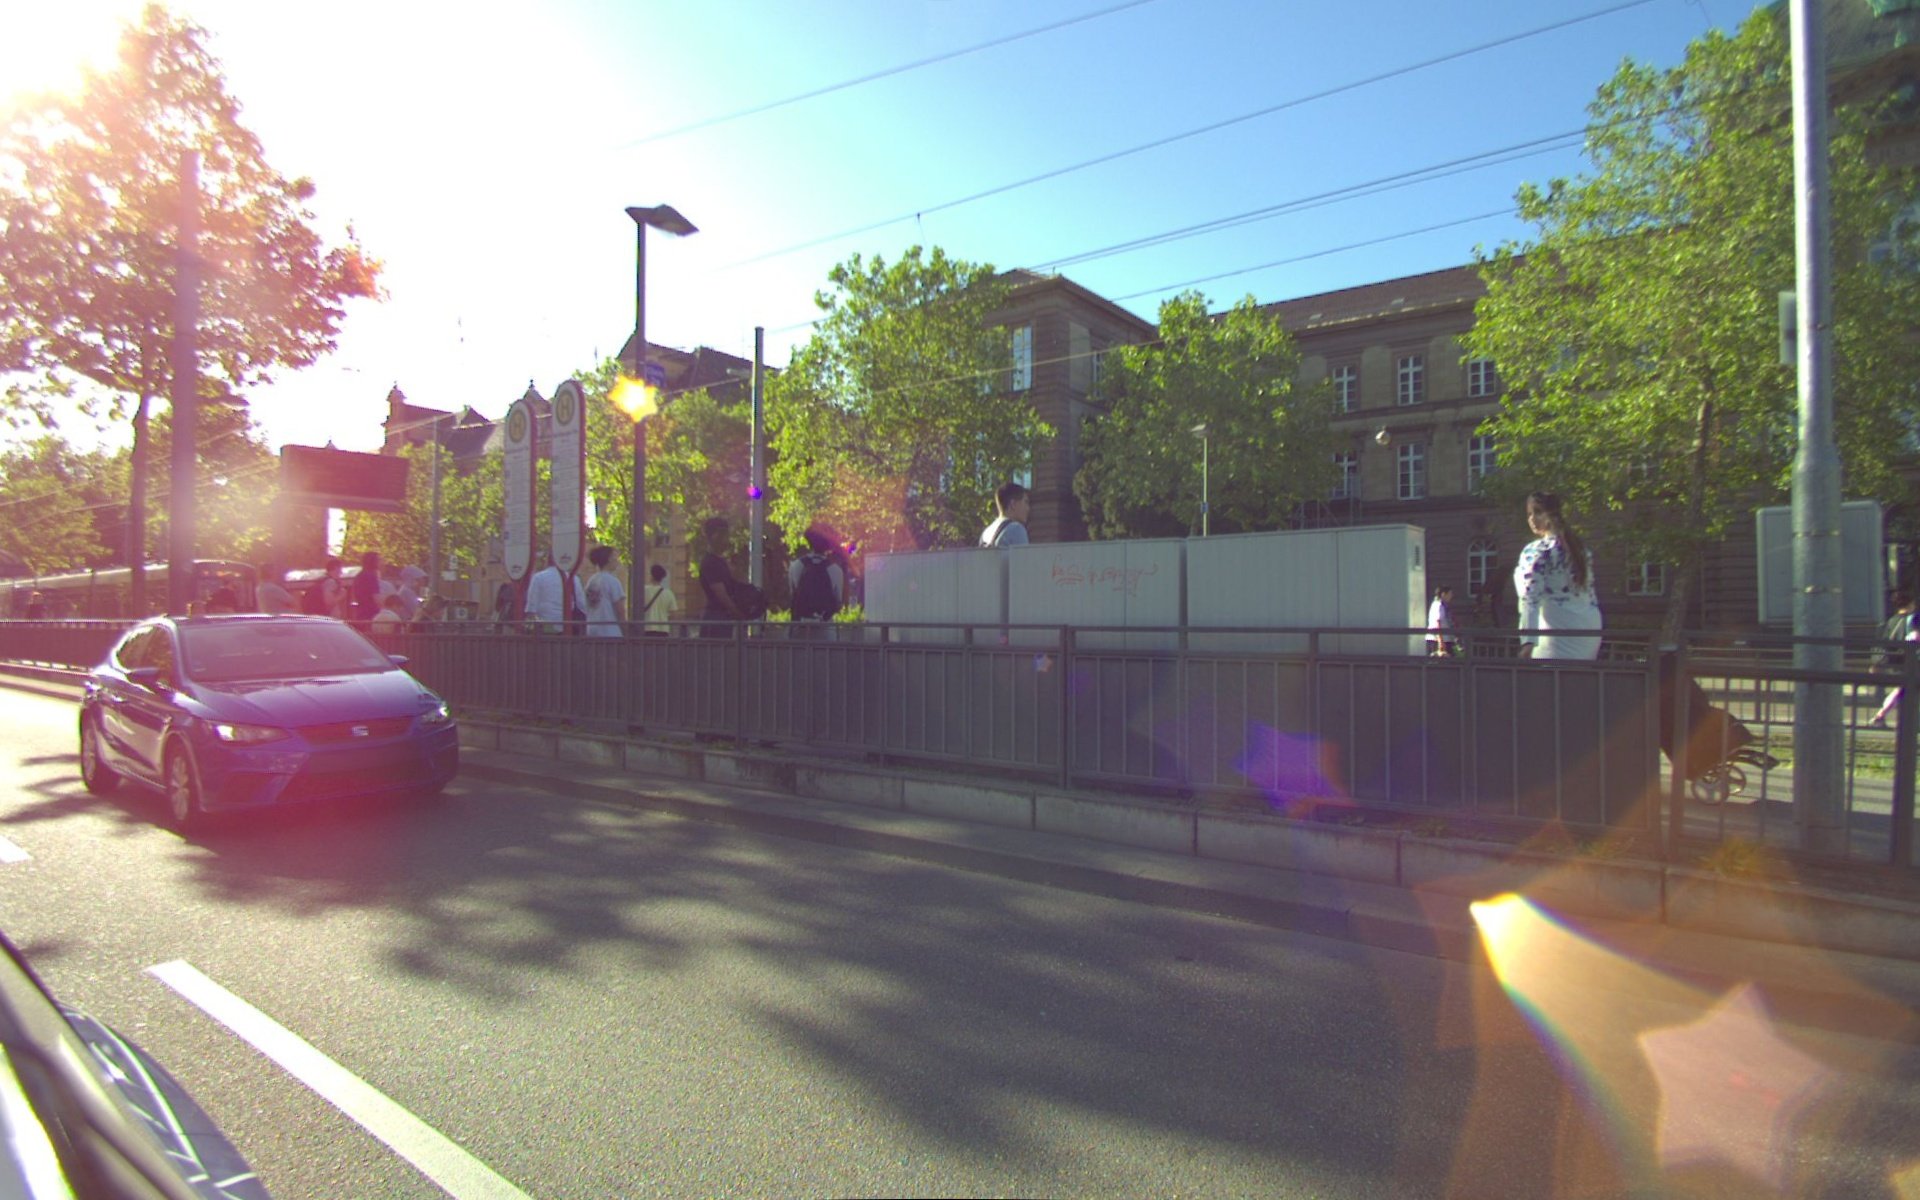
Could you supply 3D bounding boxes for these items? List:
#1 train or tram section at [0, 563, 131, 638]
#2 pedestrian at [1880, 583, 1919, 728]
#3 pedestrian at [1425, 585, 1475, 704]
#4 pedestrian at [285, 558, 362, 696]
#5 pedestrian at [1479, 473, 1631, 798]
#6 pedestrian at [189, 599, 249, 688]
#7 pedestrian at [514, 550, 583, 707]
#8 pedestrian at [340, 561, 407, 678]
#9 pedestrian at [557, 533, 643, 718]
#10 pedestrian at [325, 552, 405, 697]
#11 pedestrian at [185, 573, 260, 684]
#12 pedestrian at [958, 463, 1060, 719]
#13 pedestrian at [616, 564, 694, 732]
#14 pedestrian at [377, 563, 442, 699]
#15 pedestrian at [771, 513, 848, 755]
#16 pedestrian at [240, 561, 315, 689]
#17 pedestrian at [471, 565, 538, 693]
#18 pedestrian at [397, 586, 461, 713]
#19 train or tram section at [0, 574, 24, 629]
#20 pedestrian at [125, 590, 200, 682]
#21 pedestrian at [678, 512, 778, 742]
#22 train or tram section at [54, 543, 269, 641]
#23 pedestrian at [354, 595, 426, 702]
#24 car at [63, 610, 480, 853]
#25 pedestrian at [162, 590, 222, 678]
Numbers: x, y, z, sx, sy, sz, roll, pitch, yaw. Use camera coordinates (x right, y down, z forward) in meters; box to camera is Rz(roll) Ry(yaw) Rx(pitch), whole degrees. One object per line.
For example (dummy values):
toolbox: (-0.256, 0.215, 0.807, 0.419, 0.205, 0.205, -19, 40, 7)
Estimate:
train or tram section: (-48.389, 0.185, 53.705, 18.248, 3.460, 2.844, -1, -1, 38)
pedestrian: (11.520, 0.648, 12.004, 0.627, 1.677, 0.706, -1, -2, 18)
pedestrian: (7.404, 0.665, 15.280, 0.544, 1.741, 0.519, -1, -2, 41)
pedestrian: (-8.182, 0.345, 13.018, 0.570, 1.709, 0.654, -1, -2, 38)
pedestrian: (3.255, 0.174, 5.531, 0.639, 1.631, 0.634, 2, 0, 34)
pedestrian: (-10.863, 0.633, 14.840, 0.603, 1.256, 0.529, -1, -3, 35)
pedestrian: (-4.609, 0.317, 11.361, 0.500, 1.715, 0.611, 0, -2, 0)
pedestrian: (-8.577, 0.290, 14.812, 0.621, 1.662, 0.613, -1, -2, 33)
pedestrian: (-3.482, 0.246, 9.785, 0.610, 1.715, 0.501, -1, -2, 33)
pedestrian: (-7.288, 0.301, 12.403, 0.570, 1.709, 0.654, -1, -2, 38)
pedestrian: (-12.181, 0.471, 16.726, 0.721, 1.766, 0.769, -1, -3, 34)
pedestrian: (0.356, -0.053, 7.282, 0.538, 1.747, 0.543, -1, -2, 33)
pedestrian: (-3.367, 0.519, 11.173, 0.610, 1.783, 0.548, -1, -2, 33)
pedestrian: (-7.159, 0.399, 13.167, 0.620, 1.721, 0.510, -1, -2, 37)
pedestrian: (-1.139, 0.254, 7.612, 0.540, 1.747, 0.541, 0, -2, -10)
pedestrian: (-9.084, 0.334, 13.480, 0.570, 1.646, 0.654, -1, -2, 38)
pedestrian: (-5.603, 0.358, 12.459, 0.530, 1.530, 0.540, -1, -2, 37)
pedestrian: (-5.710, 0.524, 10.889, 0.506, 1.326, 0.412, -1, -2, 36)
train or tram section: (-51.124, 0.164, 51.613, 15.050, 2.551, 2.538, -1, -2, 38)
pedestrian: (-13.577, 0.605, 17.238, 0.750, 1.521, 0.769, -1, -3, 34)
pedestrian: (-1.843, 0.213, 8.049, 0.538, 1.747, 0.543, -1, -2, 33)
train or tram section: (-34.007, -0.129, 42.508, 18.187, 3.460, 2.822, -1, -1, 38)
pedestrian: (-6.615, 0.550, 11.747, 0.530, 1.201, 0.540, -1, -2, 37)
car: (-5.524, 0.820, 7.944, 3.871, 1.426, 1.685, -1, 0, 39)
pedestrian: (-11.719, 0.518, 15.441, 0.603, 1.309, 0.529, -1, -3, 34)
